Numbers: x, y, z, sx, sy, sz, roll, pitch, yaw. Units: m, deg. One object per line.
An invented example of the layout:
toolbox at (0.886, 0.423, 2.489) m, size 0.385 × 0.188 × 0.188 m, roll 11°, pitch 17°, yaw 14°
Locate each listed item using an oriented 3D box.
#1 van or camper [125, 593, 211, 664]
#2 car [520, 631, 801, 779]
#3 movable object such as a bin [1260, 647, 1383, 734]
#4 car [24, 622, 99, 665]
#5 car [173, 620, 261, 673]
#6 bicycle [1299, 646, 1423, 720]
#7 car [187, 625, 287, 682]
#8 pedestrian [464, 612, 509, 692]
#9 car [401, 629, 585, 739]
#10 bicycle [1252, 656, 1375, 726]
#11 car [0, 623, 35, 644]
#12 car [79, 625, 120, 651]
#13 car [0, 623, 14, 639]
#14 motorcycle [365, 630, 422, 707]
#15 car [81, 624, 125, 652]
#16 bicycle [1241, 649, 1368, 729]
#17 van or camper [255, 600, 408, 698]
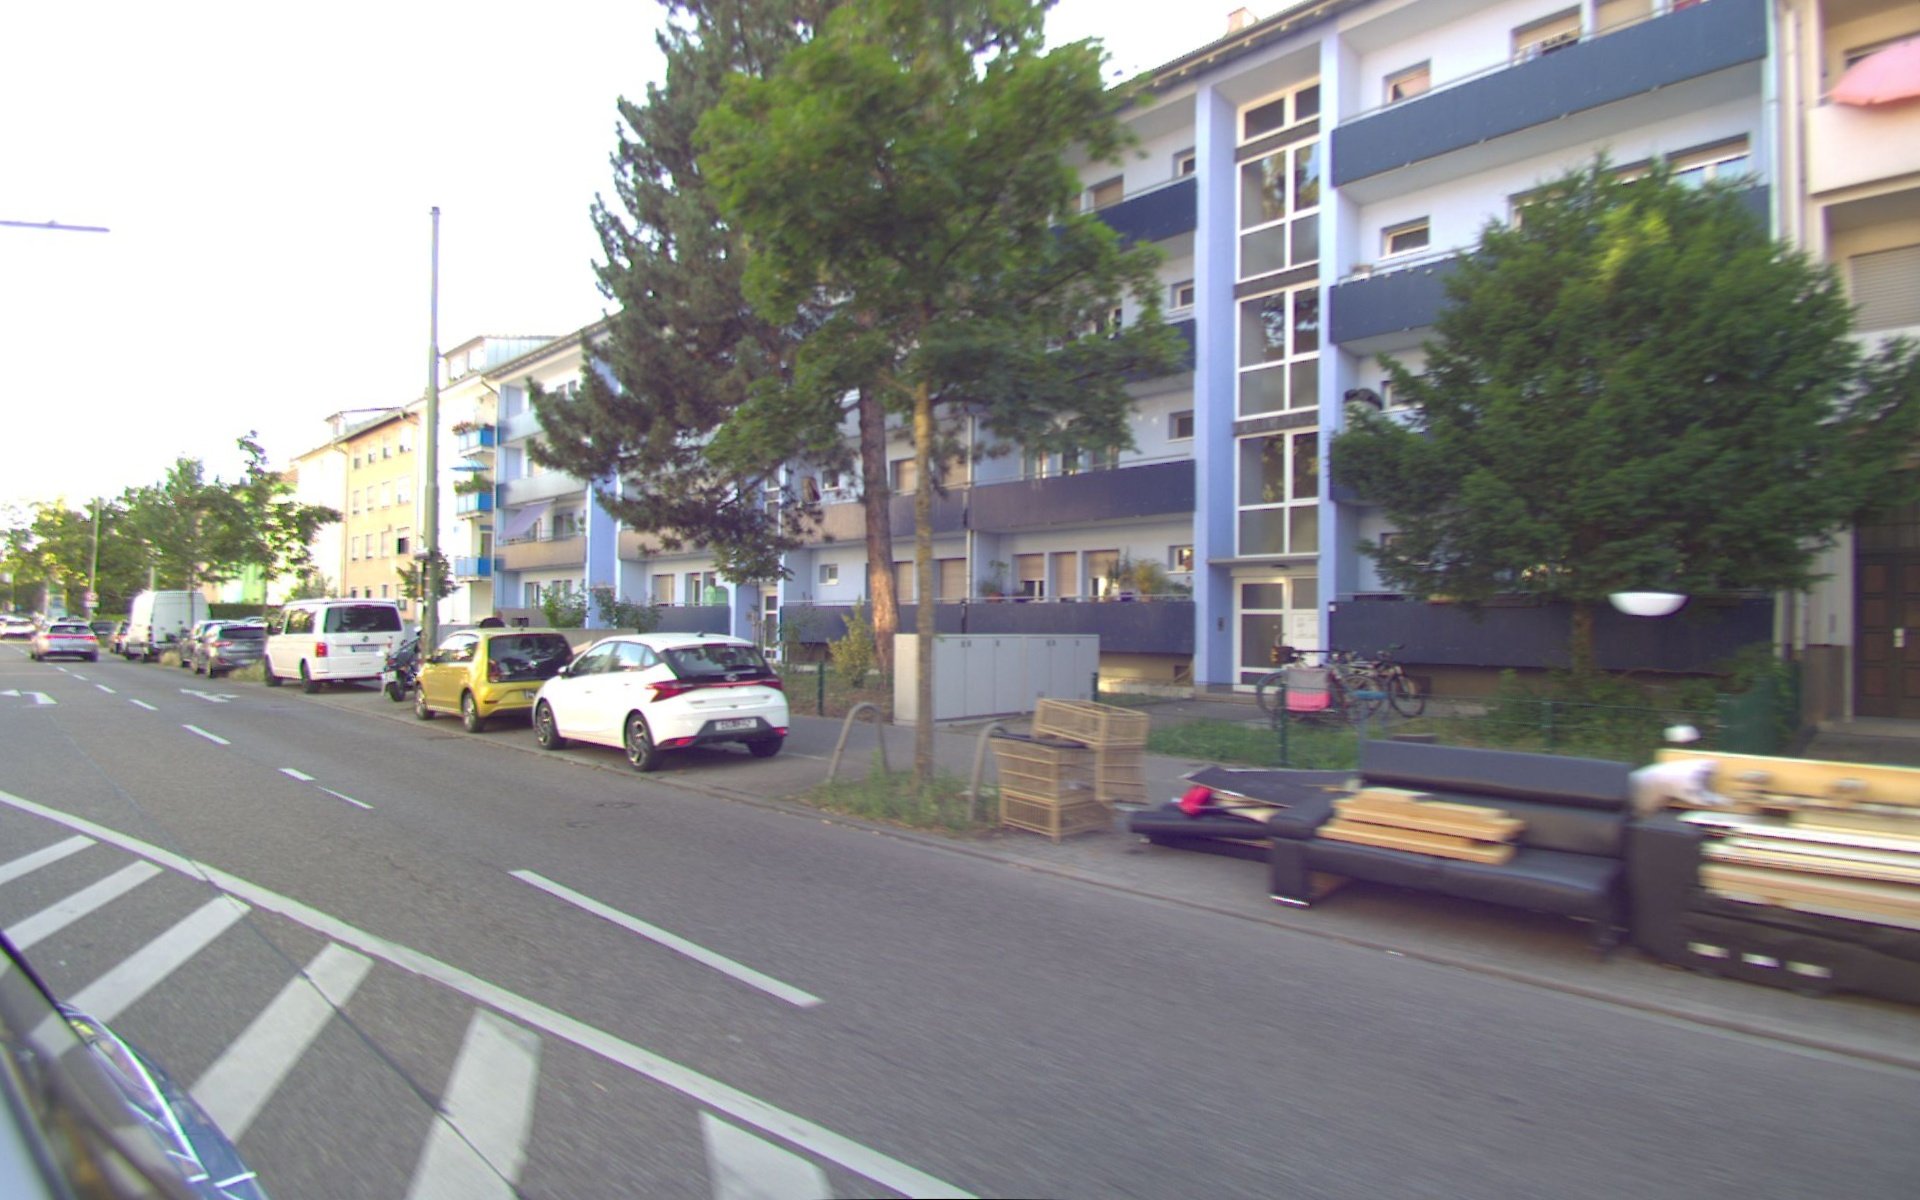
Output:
van or camper at (-30.575, 1.079, 39.006) m, size 5.337 × 2.562 × 1.891 m, roll -1°, pitch -2°, yaw 45°
car at (-3.727, 1.122, 12.190) m, size 1.660 × 1.454 × 3.884 m, roll 0°, pitch -2°, yaw -44°
movable object such as a bin at (4.864, 1.176, 13.591) m, size 1.061 × 1.057 × 1.445 m, roll -1°, pitch -2°, yaw 44°
car at (-33.190, 1.588, 37.356) m, size 3.957 × 1.493 × 1.702 m, roll -1°, pitch -3°, yaw 44°
car at (-24.213, 1.459, 32.912) m, size 1.783 × 1.603 × 3.960 m, roll 2°, pitch -2°, yaw -44°
bicycle at (6.323, 1.279, 16.021) m, size 1.746 × 1.084 × 0.582 m, roll -1°, pitch -3°, yaw 41°
car at (-20.817, 1.478, 29.077) m, size 1.783 × 1.509 × 3.960 m, roll 2°, pitch -2°, yaw -44°
pedestrian at (-10.533, 1.141, 22.504) m, size 0.647 × 1.750 × 0.688 m, roll -1°, pitch -3°, yaw 44°
car at (-7.330, 1.206, 15.736) m, size 1.555 × 1.480 × 3.493 m, roll 0°, pitch -2°, yaw -44°
bicycle at (5.438, 1.381, 15.590) m, size 1.740 × 0.996 × 0.499 m, roll 0°, pitch -2°, yaw 26°
car at (-64.783, 2.298, 69.429) m, size 1.783 × 1.409 × 3.960 m, roll 2°, pitch -2°, yaw -44°
car at (-48.981, 2.144, 57.605) m, size 1.737 × 1.459 × 3.791 m, roll 2°, pitch -2°, yaw -41°
car at (-87.122, 2.787, 91.742) m, size 3.958 × 1.409 × 1.783 m, roll -1°, pitch -2°, yaw 45°
motorcycle at (-11.010, 1.288, 19.724) m, size 0.780 × 1.412 × 2.024 m, roll 1°, pitch -2°, yaw -24°
car at (-46.301, 2.050, 54.688) m, size 1.737 × 1.459 × 3.595 m, roll 2°, pitch -2°, yaw -41°
bicycle at (5.125, 1.302, 15.093) m, size 1.740 × 1.104 × 0.528 m, roll 0°, pitch -2°, yaw 26°
van or camper at (-14.444, 1.059, 23.146) m, size 4.865 × 2.029 × 1.784 m, roll -1°, pitch -2°, yaw 44°
